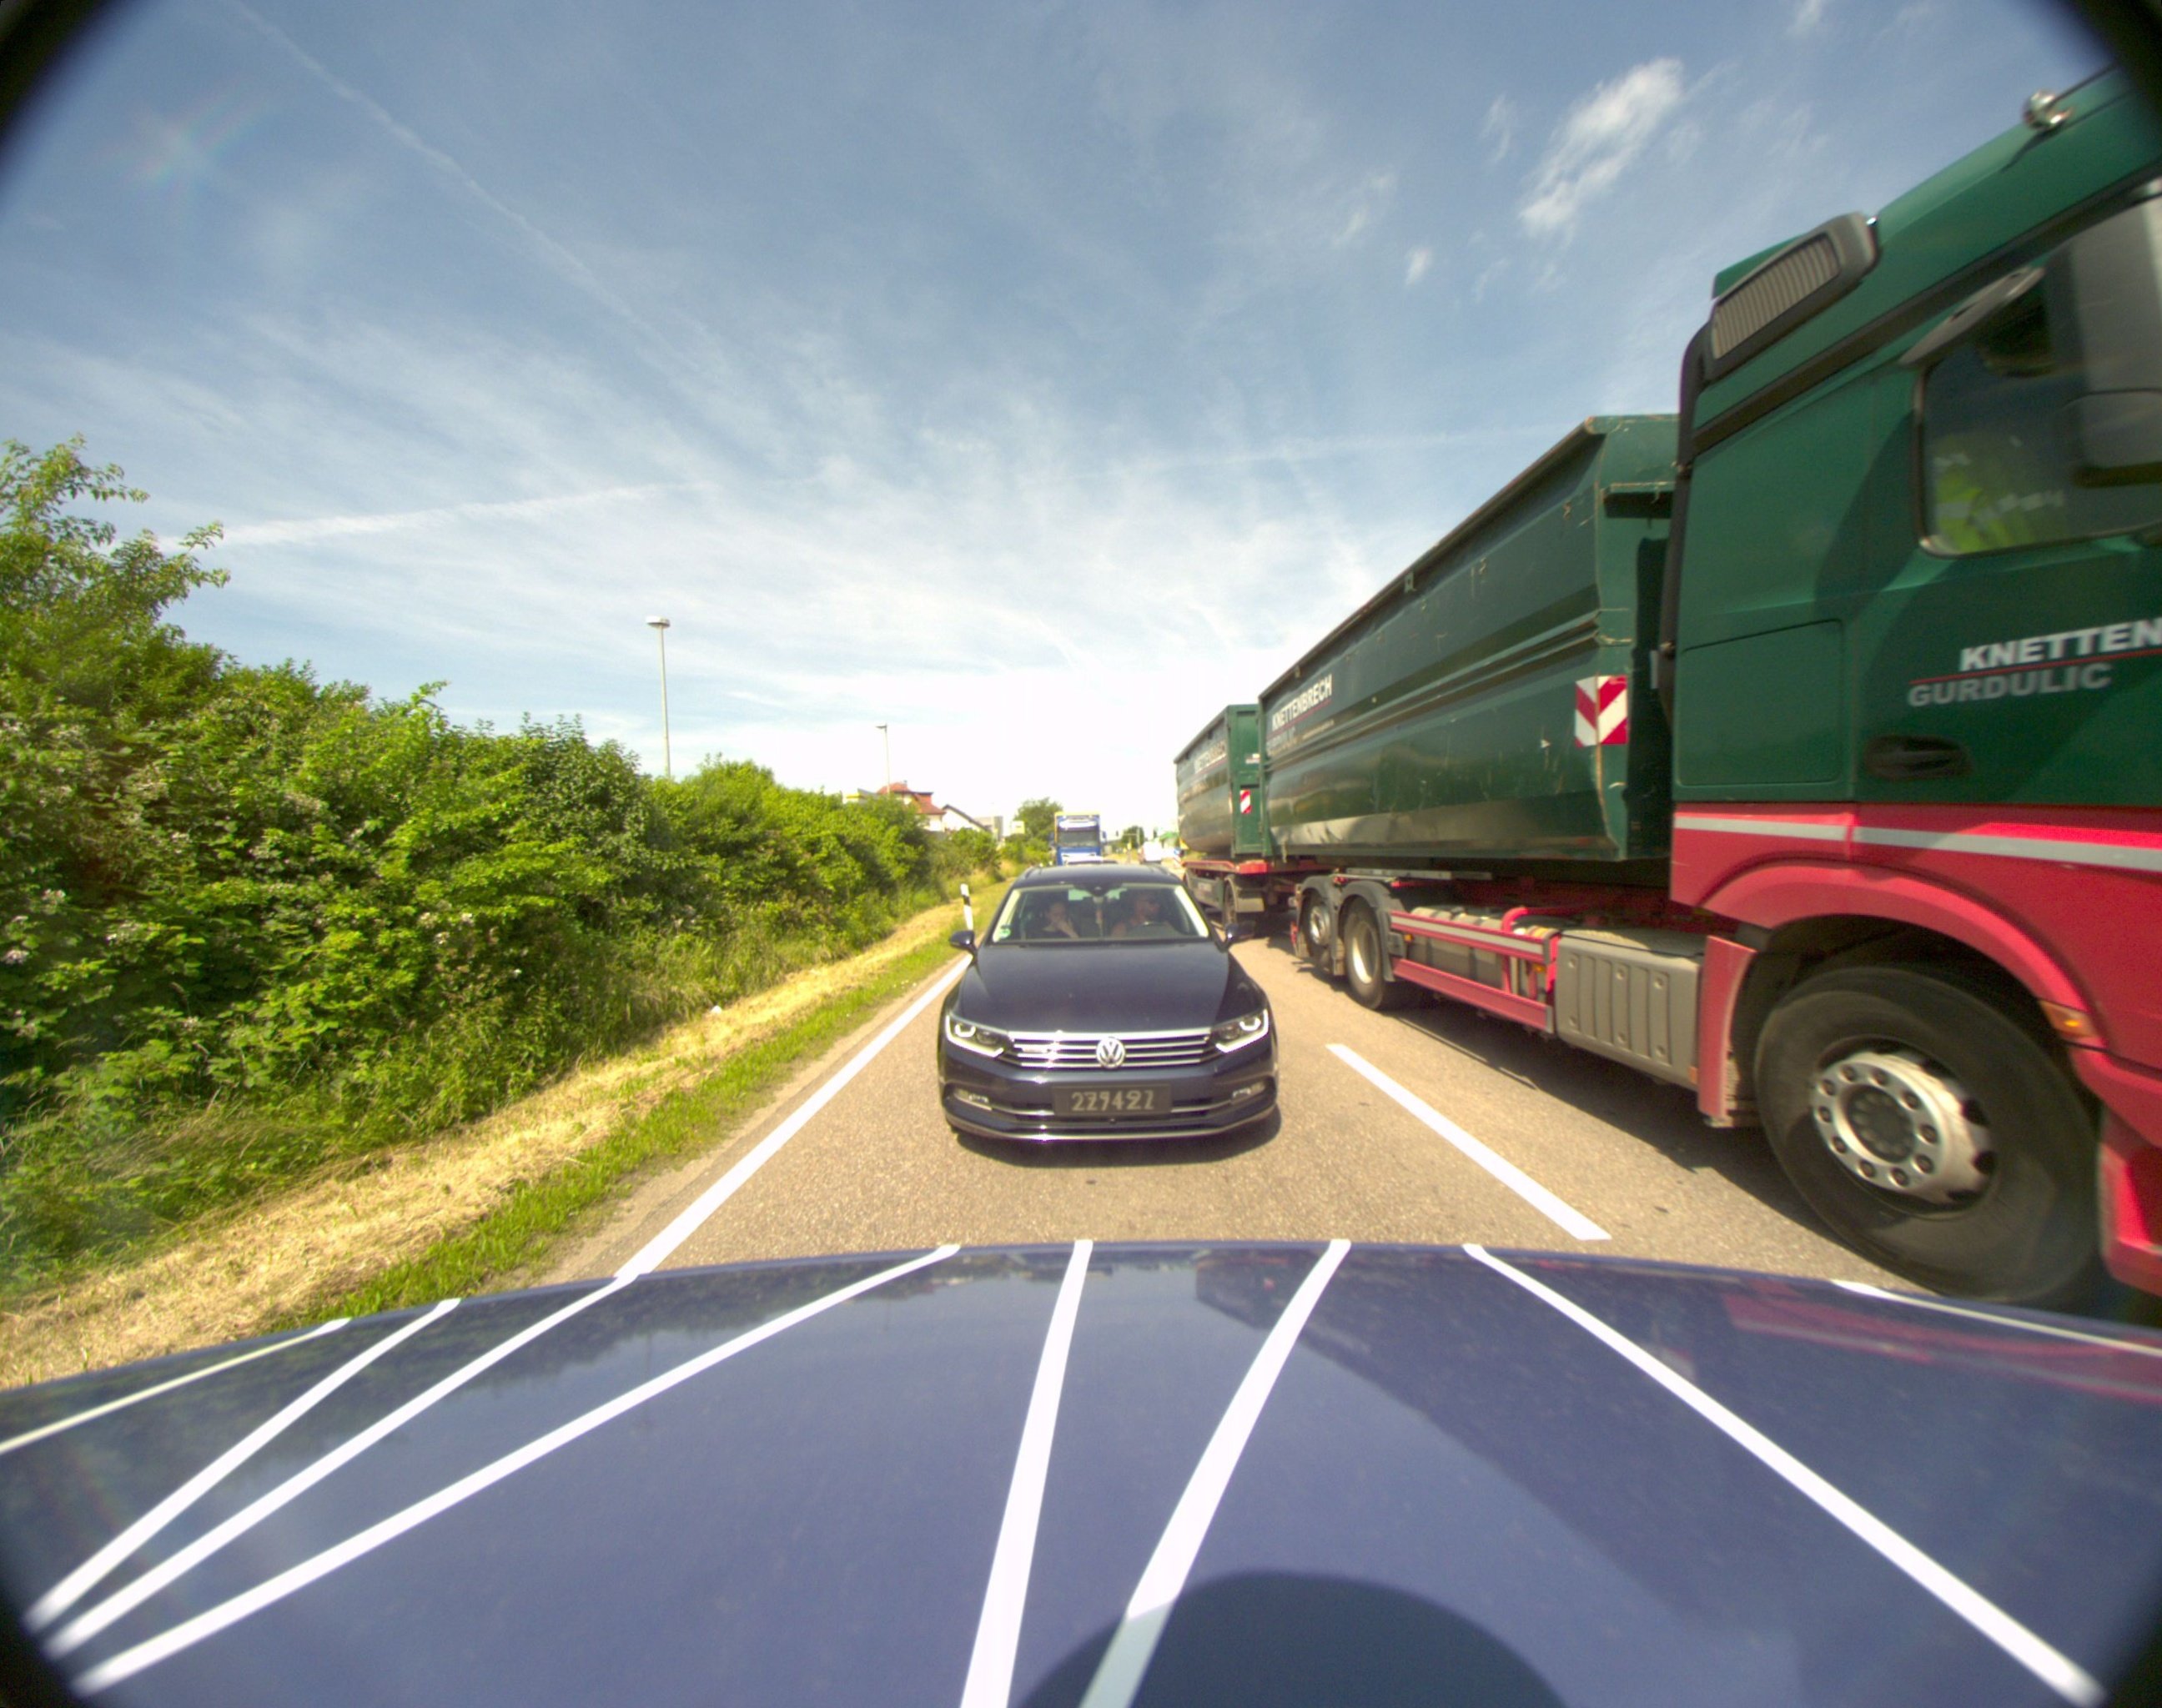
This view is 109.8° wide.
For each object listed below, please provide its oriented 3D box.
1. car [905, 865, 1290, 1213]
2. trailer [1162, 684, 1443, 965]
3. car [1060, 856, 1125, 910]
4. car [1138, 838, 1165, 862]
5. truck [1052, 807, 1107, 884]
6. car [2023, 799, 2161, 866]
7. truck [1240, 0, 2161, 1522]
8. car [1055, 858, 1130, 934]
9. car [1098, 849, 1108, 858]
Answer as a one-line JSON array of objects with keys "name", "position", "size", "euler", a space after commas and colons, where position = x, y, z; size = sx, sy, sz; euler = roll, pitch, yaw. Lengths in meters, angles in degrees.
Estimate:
[{"name": "car", "position": [0.115, 0.910, 6.029], "size": [1.756, 1.493, 4.925], "euler": [-2, 0, 1]}, {"name": "trailer", "position": [3.620, -0.435, 15.138], "size": [2.809, 3.897, 8.668], "euler": [-2, 0, -1]}, {"name": "car", "position": [0.352, 0.829, 23.829], "size": [1.814, 1.466, 3.973], "euler": [-2, 0, 1]}, {"name": "car", "position": [8.491, -0.445, 92.206], "size": [2.124, 2.639, 5.983], "euler": [-3, 0, -5]}, {"name": "truck", "position": [0.014, -0.500, 47.239], "size": [2.855, 3.999, 12.916], "euler": [-2, 0, 1]}, {"name": "car", "position": [30.676, -0.659, 22.821], "size": [4.172, 1.801, 1.877], "euler": [-3, 1, -23]}, {"name": "truck", "position": [3.764, -0.415, 5.848], "size": [2.675, 3.897, 10.048], "euler": [-2, 0, -1]}, {"name": "car", "position": [0.260, 0.867, 17.401], "size": [1.471, 1.451, 3.797], "euler": [-2, 0, 1]}, {"name": "car", "position": [4.037, -0.048, 139.492], "size": [1.819, 1.626, 3.893], "euler": [-2, 0, 1]}]
